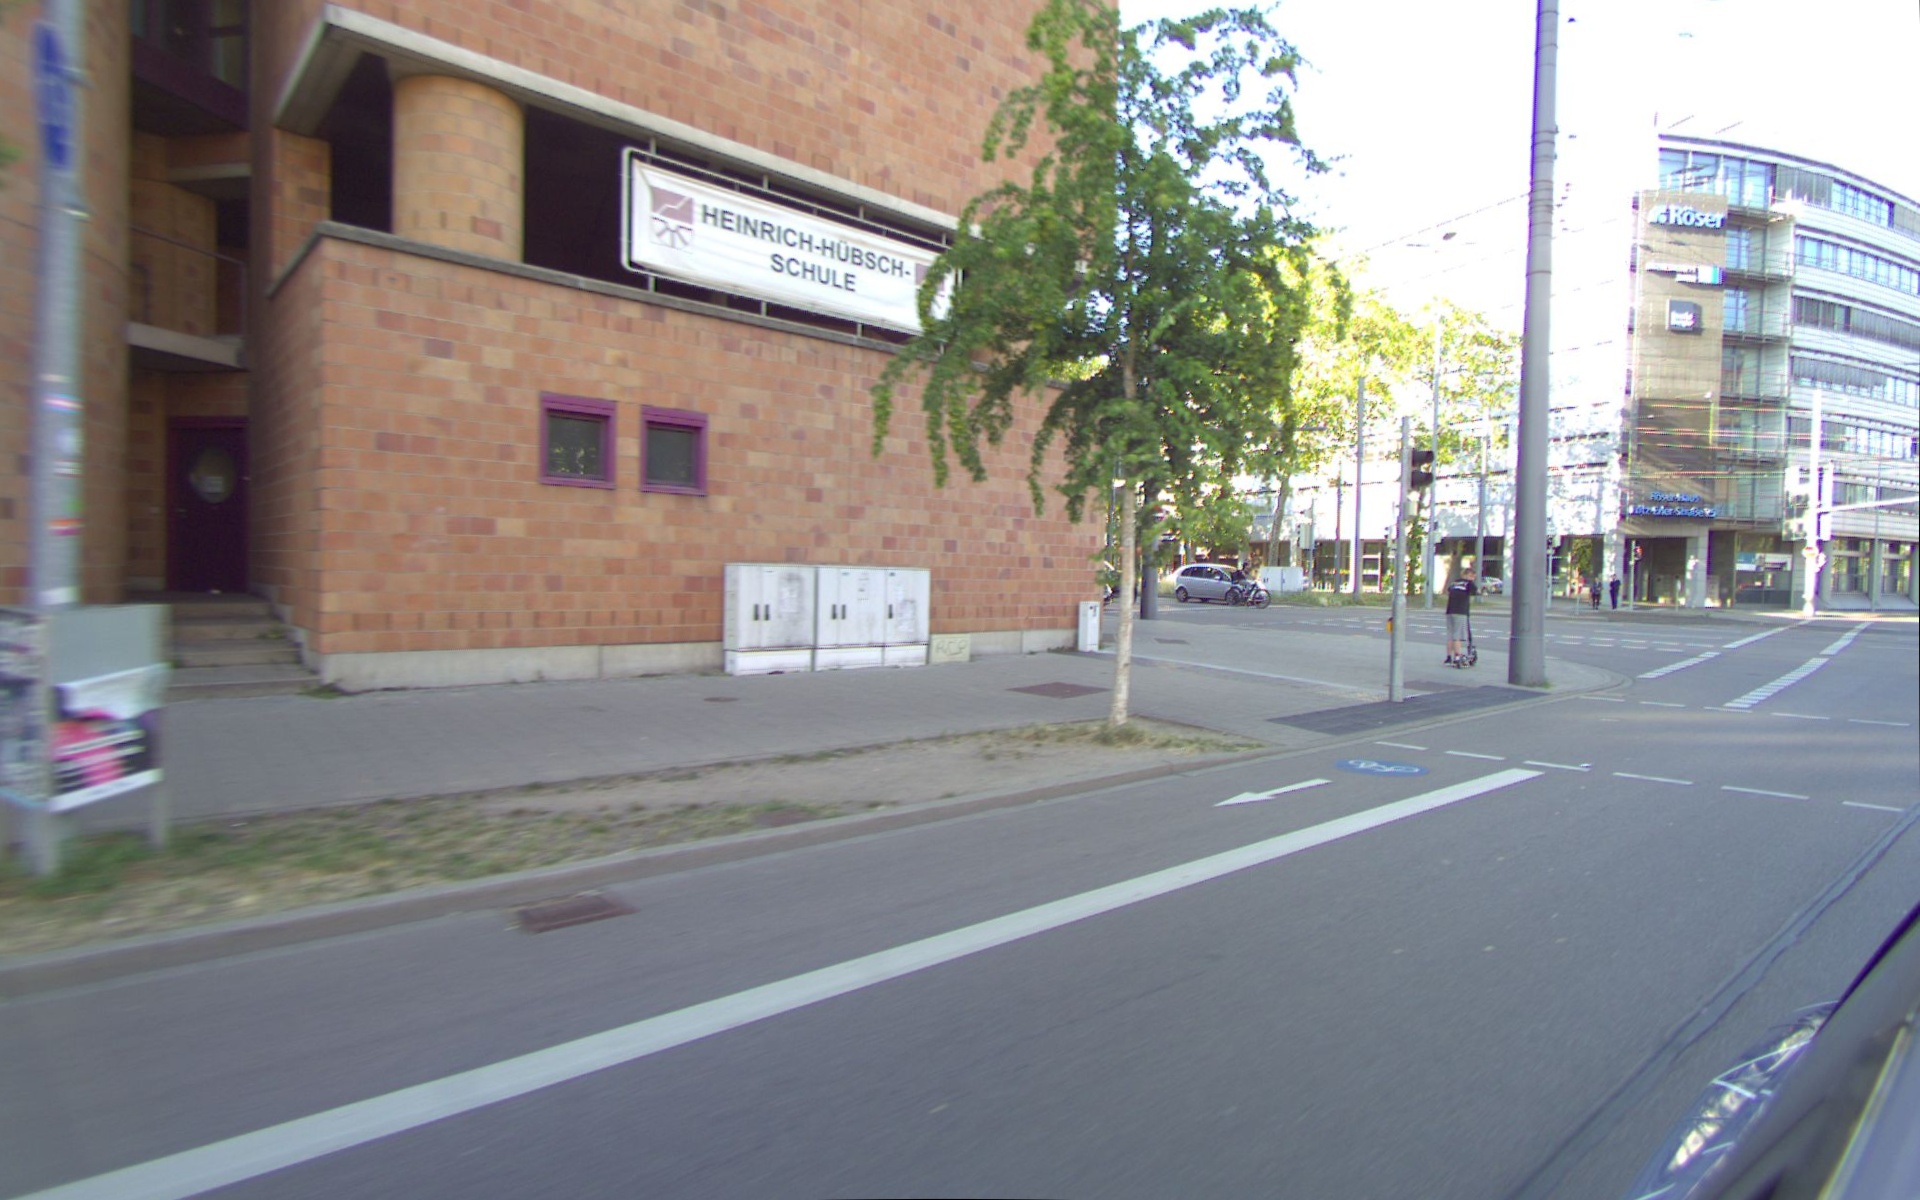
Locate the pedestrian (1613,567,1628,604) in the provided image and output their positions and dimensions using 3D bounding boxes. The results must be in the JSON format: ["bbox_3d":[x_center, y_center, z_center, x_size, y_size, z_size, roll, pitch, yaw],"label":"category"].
[{"bbox_3d":[33.633,-0.728,51.525,0.544,1.846,0.369,2,2,38],"label":"pedestrian"}]

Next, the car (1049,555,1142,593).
[{"bbox_3d":[6.310,-1.262,47.554,1.825,1.671,4.326,0,3,-36],"label":"car"}]

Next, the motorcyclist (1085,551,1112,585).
[{"bbox_3d":[5.765,-1.321,42.138,0.805,1.370,0.750,1,1,-29],"label":"motorcyclist"}]

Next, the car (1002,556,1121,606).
[{"bbox_3d":[3.620,-0.752,36.838,1.805,1.674,4.501,-1,3,-36],"label":"car"}]

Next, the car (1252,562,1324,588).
[{"bbox_3d":[21.671,-1.659,66.971,1.824,1.571,4.327,0,3,-35],"label":"car"}]

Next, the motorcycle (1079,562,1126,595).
[{"bbox_3d":[5.894,-0.891,41.881,0.835,1.274,2.034,1,2,-29],"label":"motorcycle"}]

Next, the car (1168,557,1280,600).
[{"bbox_3d":[10.769,-0.915,41.573,1.703,1.616,4.326,0,3,-36],"label":"car"}]

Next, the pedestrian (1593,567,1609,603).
[{"bbox_3d":[32.929,-0.763,51.968,0.586,1.846,0.537,2,2,38],"label":"pedestrian"}]

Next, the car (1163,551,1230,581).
[{"bbox_3d":[16.903,-2.456,72.440,1.963,2.038,4.384,0,3,-37],"label":"car"}]

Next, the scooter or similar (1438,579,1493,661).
[{"bbox_3d":[8.654,0.319,17.312,0.527,1.334,1.115,3,2,43],"label":"scooter or similar"}]

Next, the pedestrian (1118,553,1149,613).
[{"bbox_3d":[5.115,-0.516,29.872,0.651,1.737,0.825,1,2,-7],"label":"pedestrian"}]

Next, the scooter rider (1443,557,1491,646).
[{"bbox_3d":[8.697,0.011,17.354,0.506,1.478,0.711,3,2,44],"label":"scooter rider"}]
